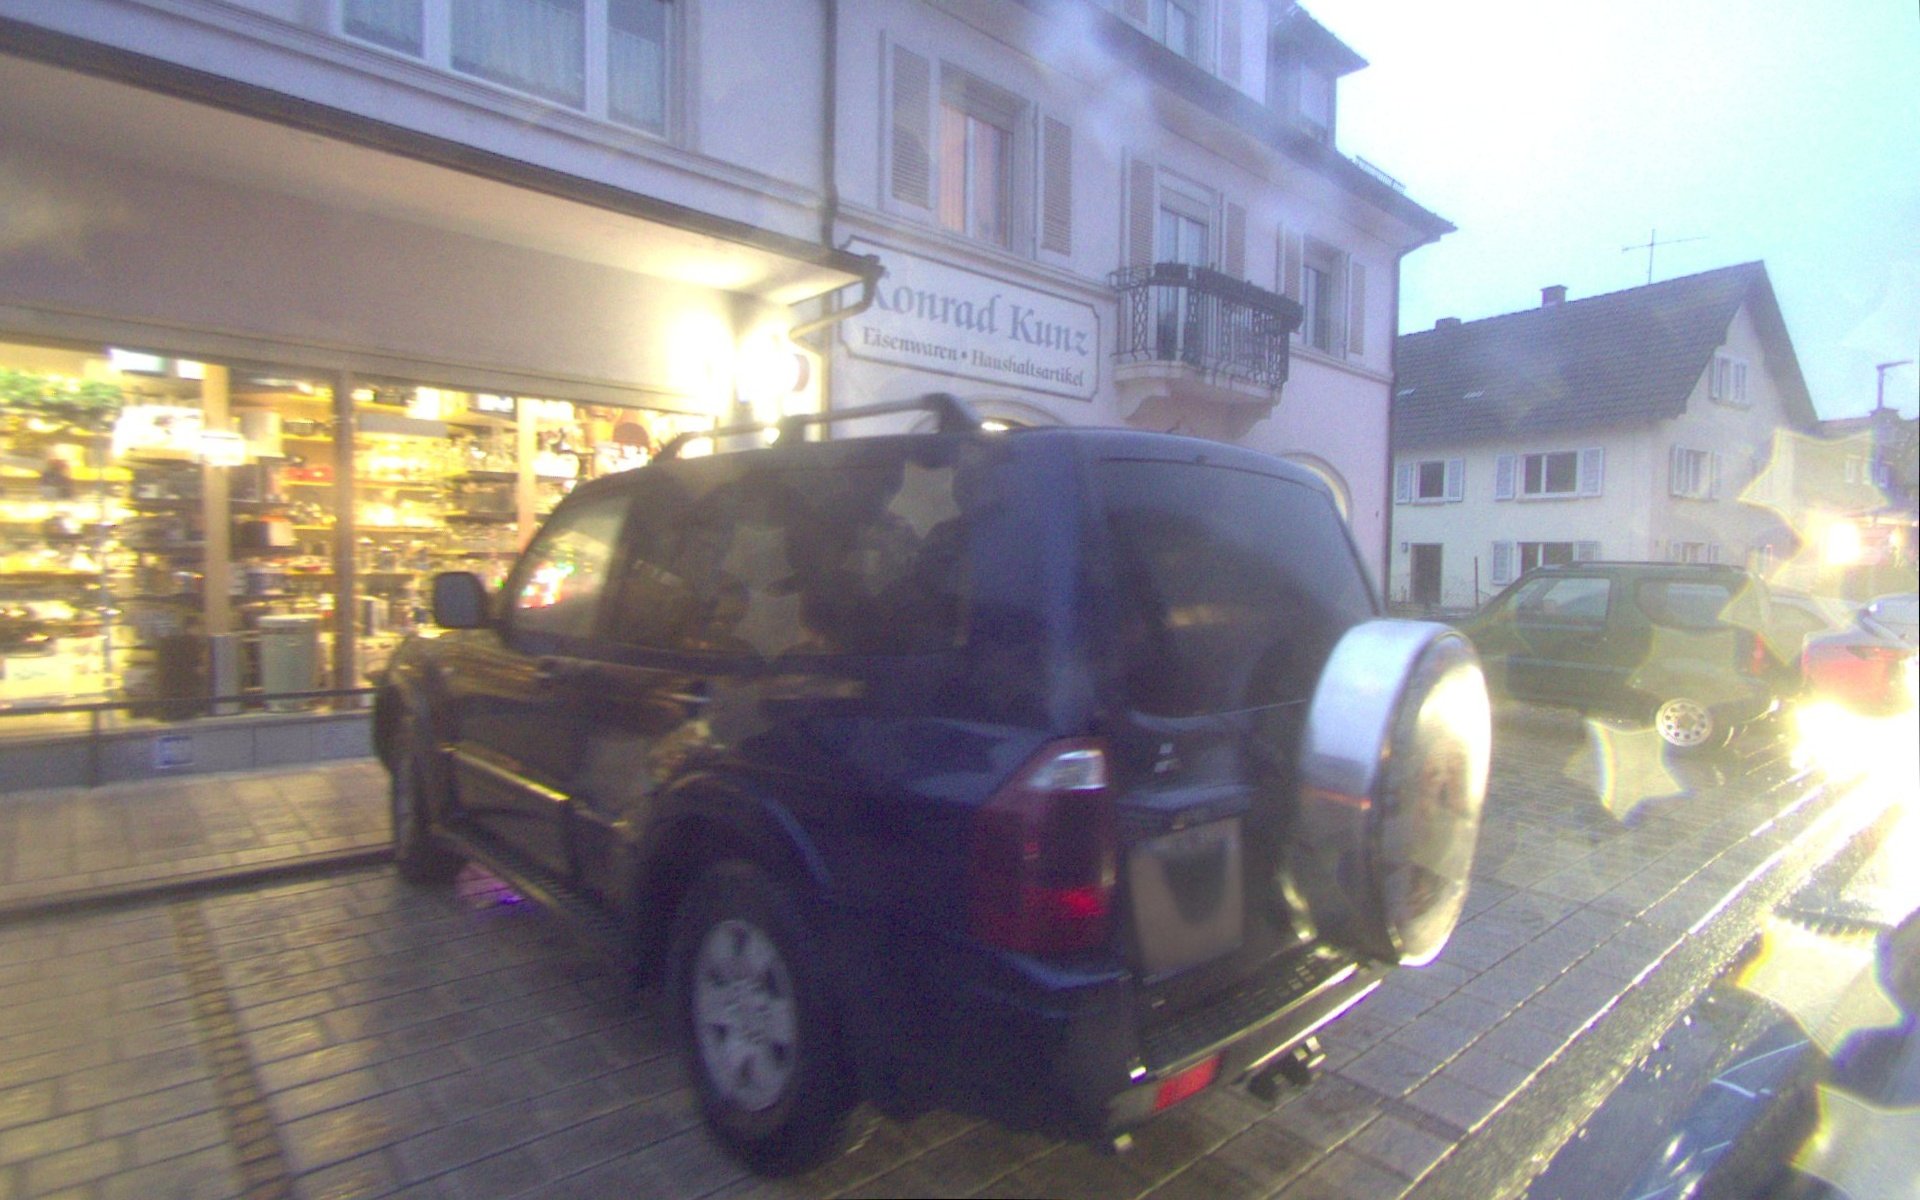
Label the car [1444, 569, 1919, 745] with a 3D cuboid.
[{"bbox_3d":[8.355,0.487,11.815,1.865,1.491,4.476,0,3,-41],"label":"car"}]

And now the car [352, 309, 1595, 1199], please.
[{"bbox_3d":[-0.560,0.381,3.771,1.913,1.797,4.608,0,2,-44],"label":"car"}]

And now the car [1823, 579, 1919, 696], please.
[{"bbox_3d":[15.021,0.545,15.452,4.586,1.566,1.888,0,3,-38],"label":"car"}]

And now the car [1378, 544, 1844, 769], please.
[{"bbox_3d":[6.246,0.381,9.948,1.688,1.701,3.507,0,4,-45],"label":"car"}]
